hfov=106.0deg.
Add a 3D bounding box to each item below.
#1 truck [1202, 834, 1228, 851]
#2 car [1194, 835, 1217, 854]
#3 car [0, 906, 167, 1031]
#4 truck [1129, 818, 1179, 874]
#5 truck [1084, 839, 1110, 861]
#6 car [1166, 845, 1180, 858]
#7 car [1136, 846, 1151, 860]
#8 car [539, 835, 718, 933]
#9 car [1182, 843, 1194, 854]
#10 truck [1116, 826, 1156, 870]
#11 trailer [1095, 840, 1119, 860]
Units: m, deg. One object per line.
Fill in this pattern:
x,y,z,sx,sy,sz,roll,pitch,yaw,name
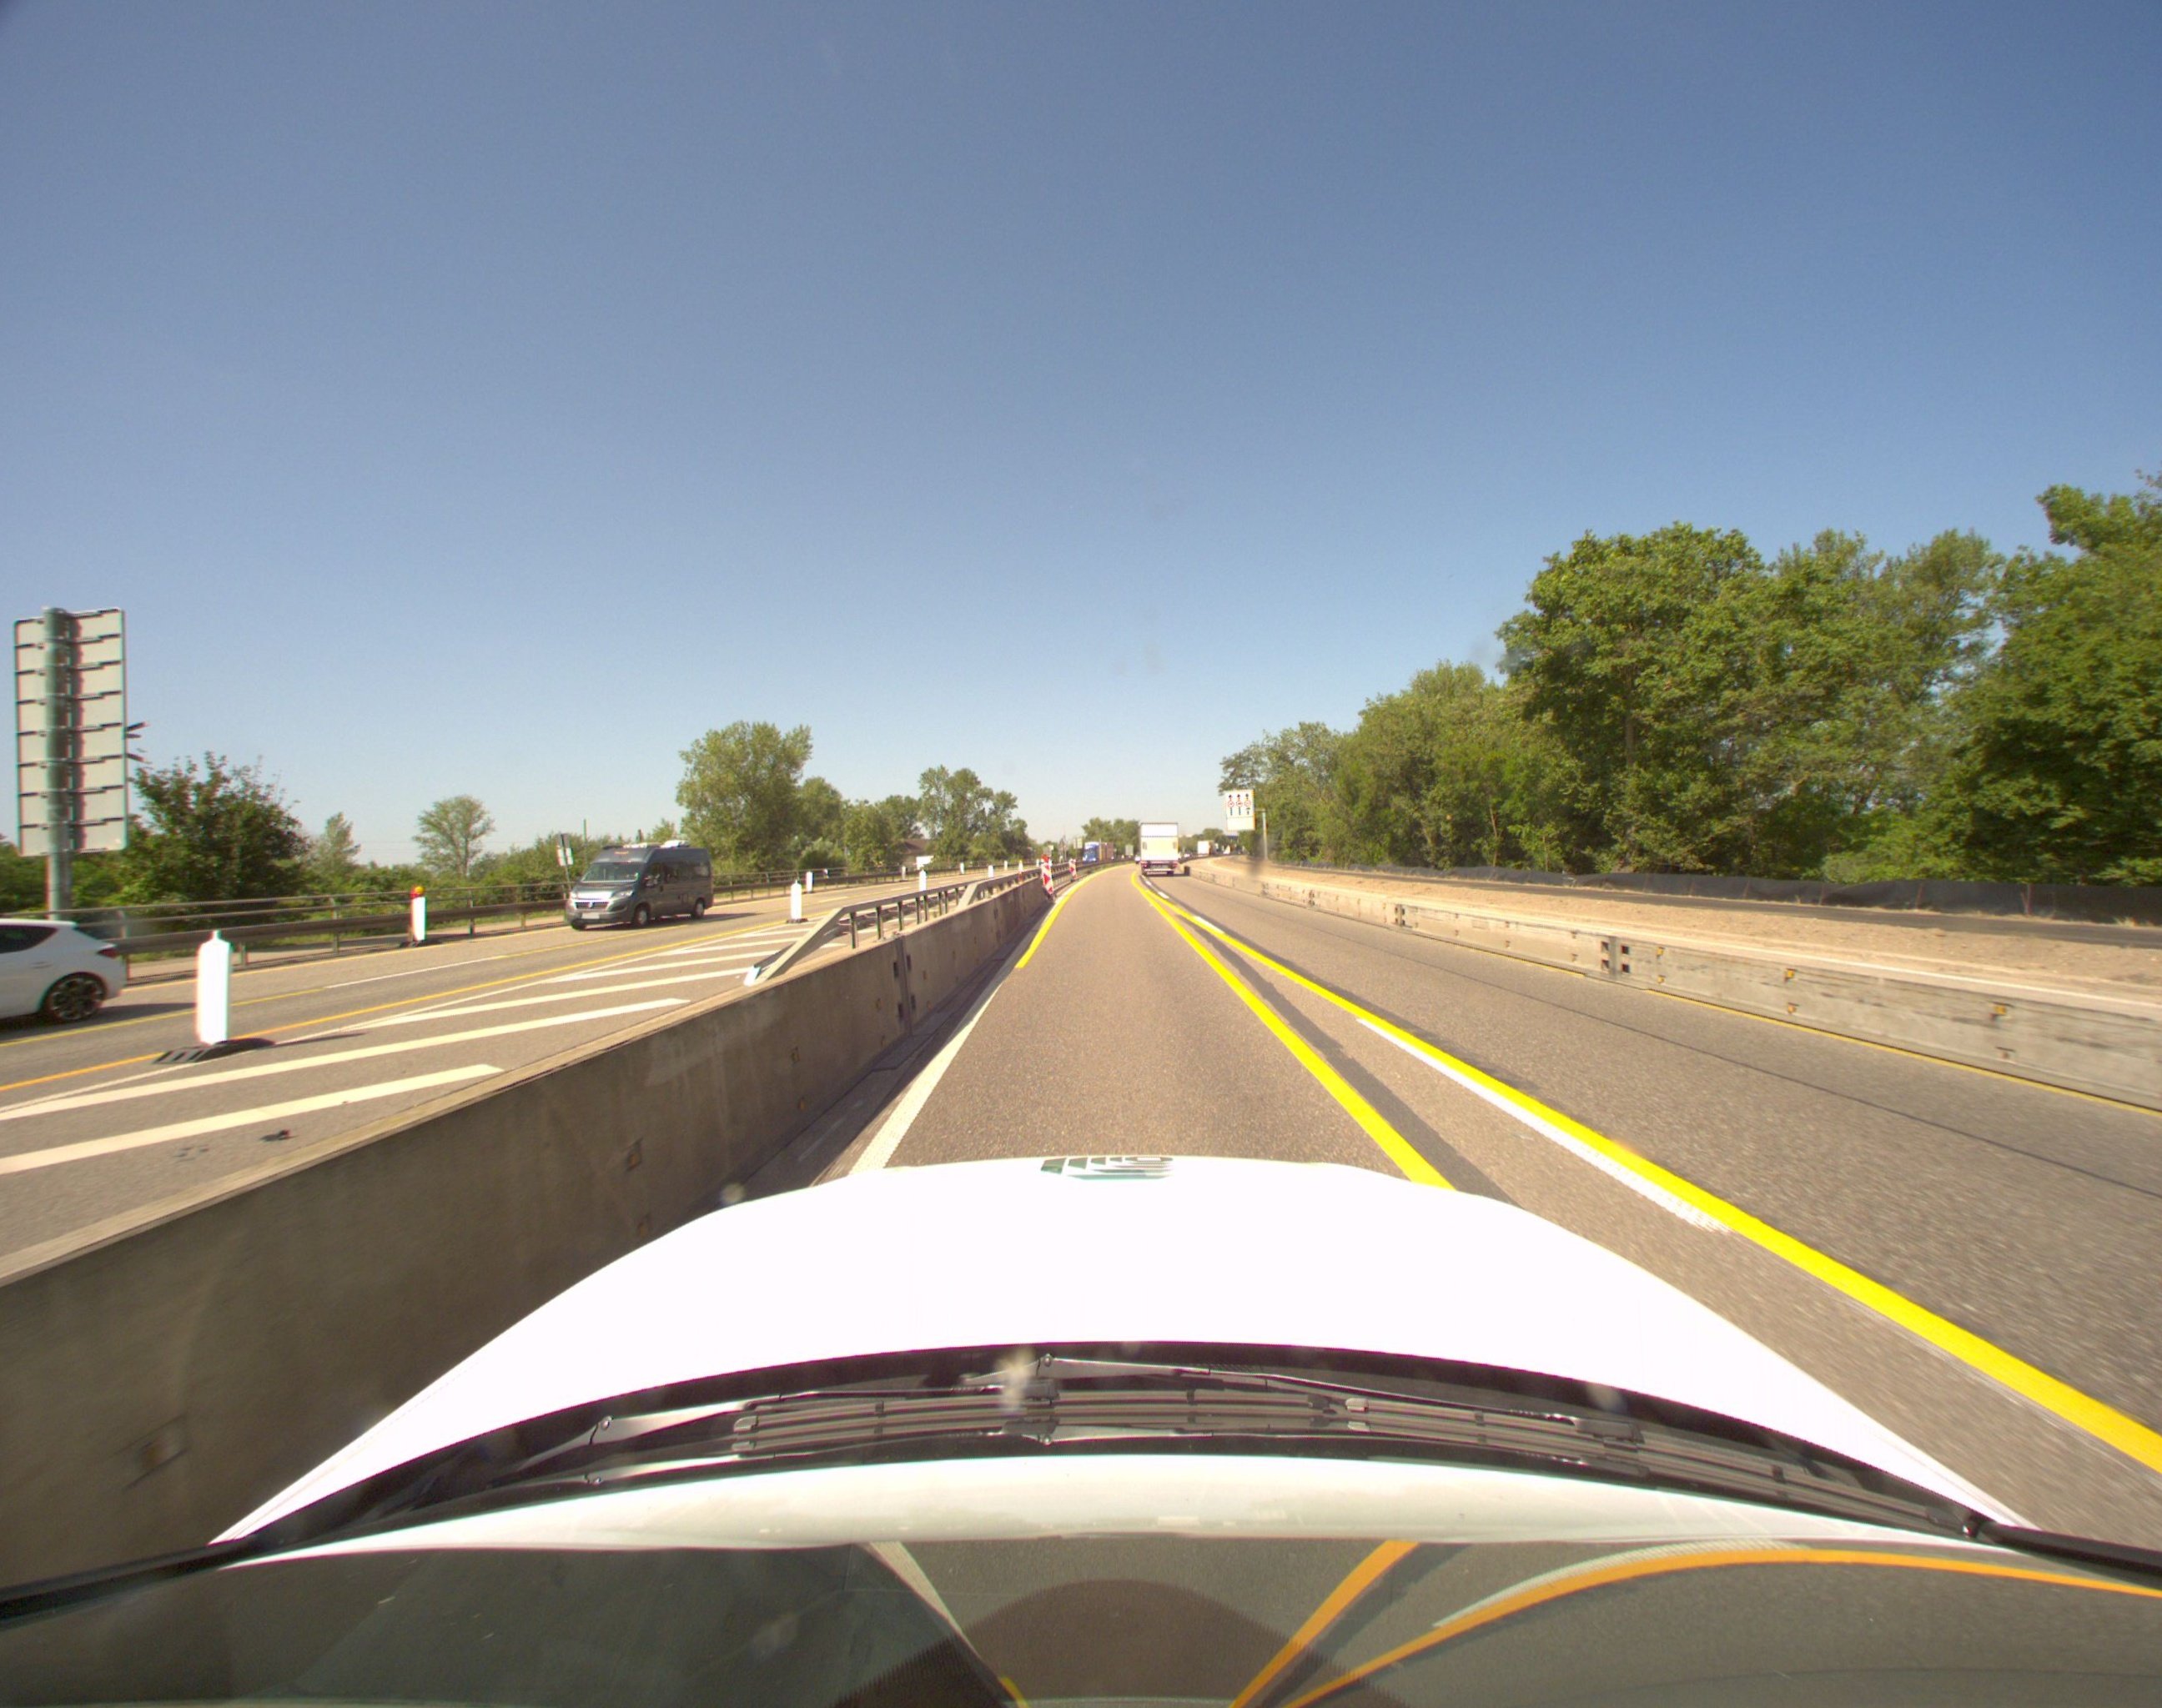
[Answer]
37.477,-3.260,227.591,4.181,4.266,10.300,-4,0,24,truck
30.706,-2.454,200.469,4.177,4.251,10.703,-4,0,14,car
-14.018,1.484,9.409,1.713,1.397,4.521,-2,0,1,car
4.723,-0.522,53.868,2.626,3.427,7.231,0,0,0,truck
3.249,-0.790,160.878,3.017,4.091,10.662,-1,0,13,truck
15.942,-0.485,140.649,1.980,2.013,4.013,-4,0,11,car
8.481,-0.177,110.133,1.806,1.776,4.009,-4,0,7,car
-13.902,0.831,25.574,2.137,2.660,5.551,-3,0,4,car
21.889,-1.167,165.973,1.980,2.013,4.014,-4,0,12,car
5.135,-0.530,77.512,3.376,3.774,7.236,-4,0,2,truck
5.535,-0.926,170.891,3.017,4.091,9.824,-1,0,13,trailer
